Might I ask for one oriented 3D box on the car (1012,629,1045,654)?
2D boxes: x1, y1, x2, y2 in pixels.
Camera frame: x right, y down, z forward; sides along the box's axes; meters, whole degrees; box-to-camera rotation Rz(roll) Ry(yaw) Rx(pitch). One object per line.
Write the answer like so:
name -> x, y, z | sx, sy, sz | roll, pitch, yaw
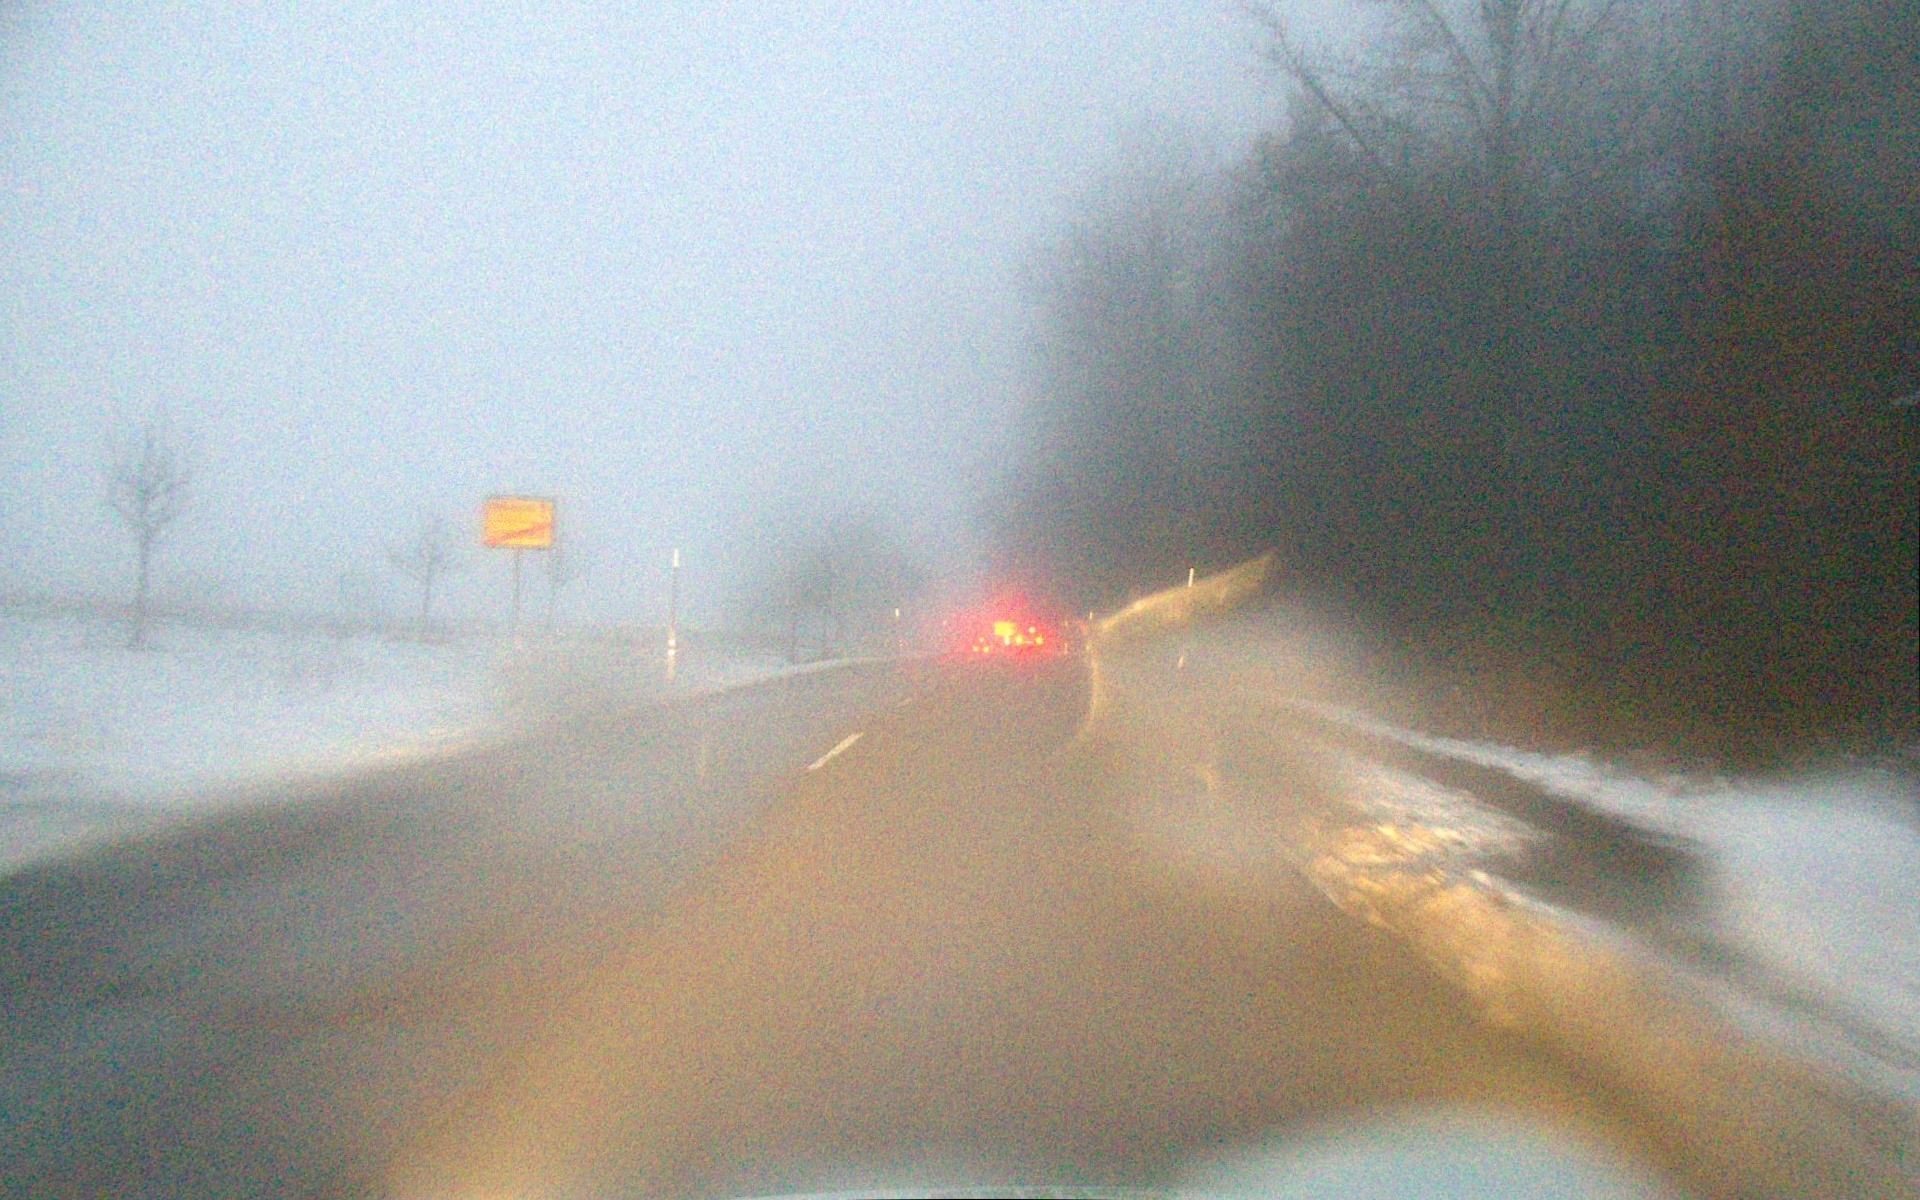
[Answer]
car -> 4.298, 2.662, 104.502 | 1.952, 1.445, 3.999 | 1, -3, 1
